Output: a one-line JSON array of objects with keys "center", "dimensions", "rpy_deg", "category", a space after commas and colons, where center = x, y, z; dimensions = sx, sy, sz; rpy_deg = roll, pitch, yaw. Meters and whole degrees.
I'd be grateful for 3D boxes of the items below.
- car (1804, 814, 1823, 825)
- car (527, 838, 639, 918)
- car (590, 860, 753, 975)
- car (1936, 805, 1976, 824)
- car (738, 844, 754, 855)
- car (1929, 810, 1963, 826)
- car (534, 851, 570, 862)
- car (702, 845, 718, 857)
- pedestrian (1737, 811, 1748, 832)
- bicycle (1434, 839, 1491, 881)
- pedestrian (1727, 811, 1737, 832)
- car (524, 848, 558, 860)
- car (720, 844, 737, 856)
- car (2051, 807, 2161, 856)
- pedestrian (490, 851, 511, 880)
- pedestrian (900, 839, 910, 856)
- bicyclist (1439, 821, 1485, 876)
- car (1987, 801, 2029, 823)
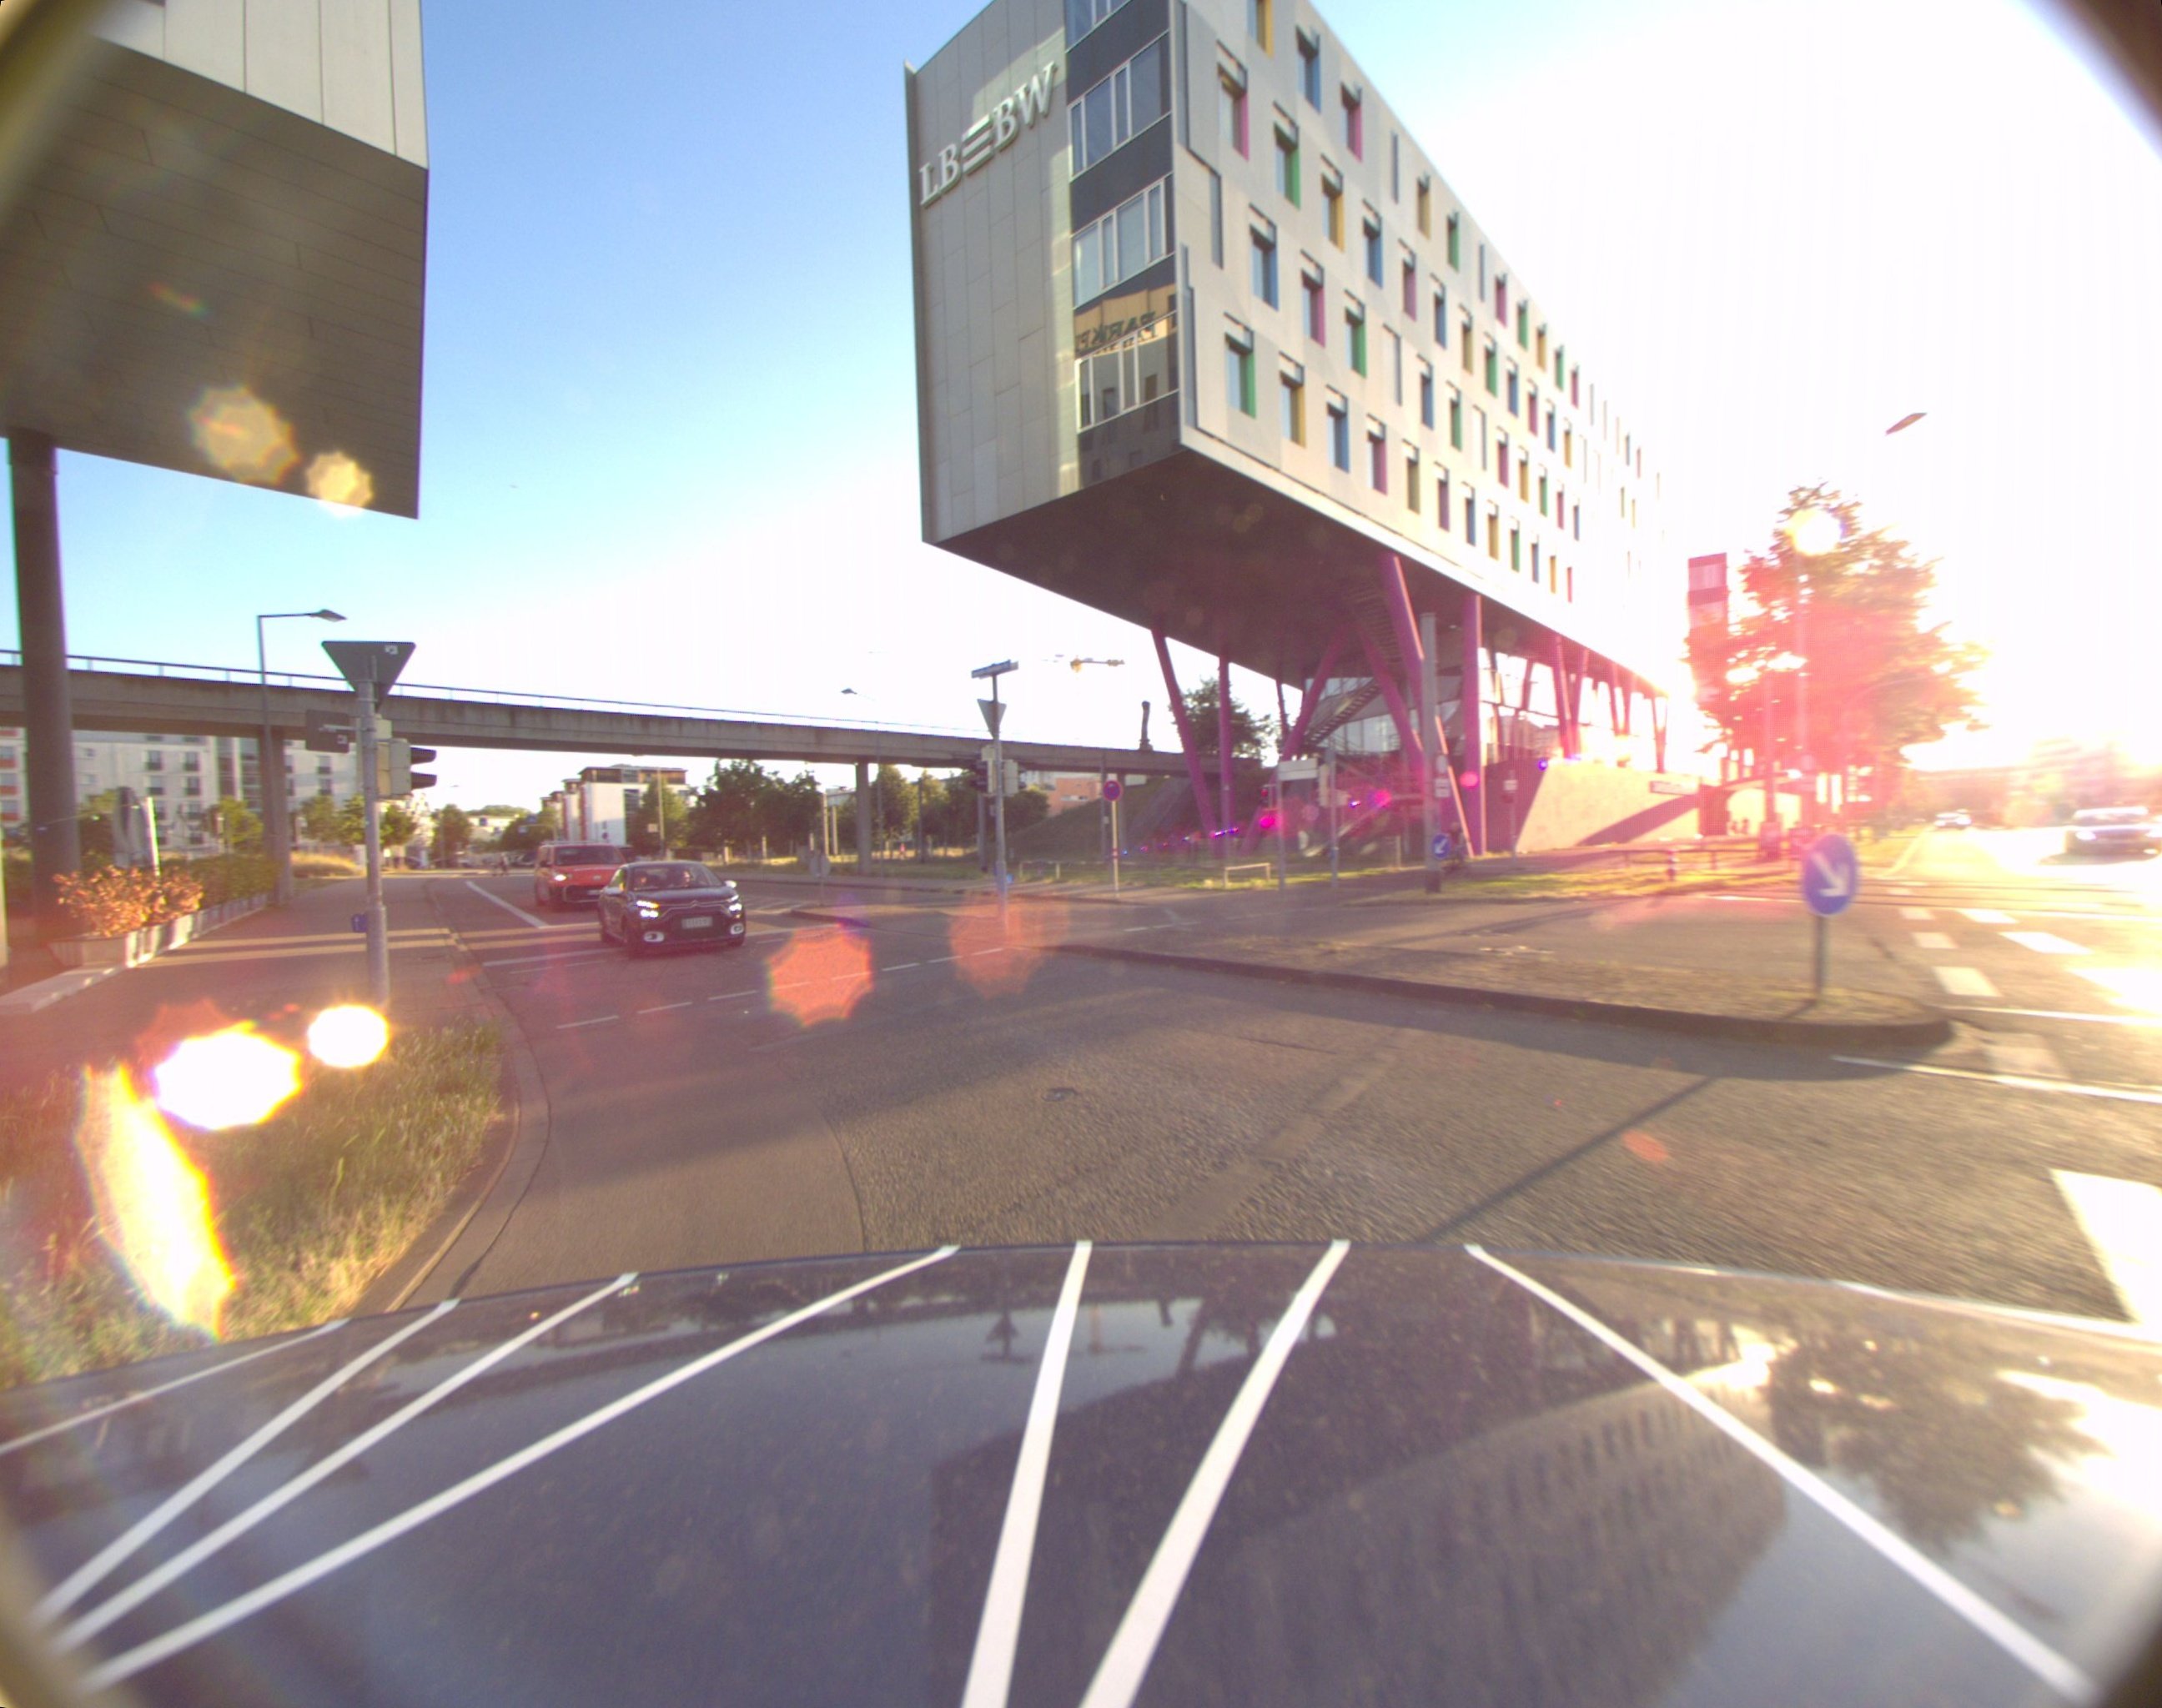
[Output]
[{"center": [110.955, -5.191, 115.118], "dimensions": [4.007, 1.490, 1.714], "rpy_deg": [-3, 2, -41], "category": "car"}, {"center": [-14.450, 0.611, 21.908], "dimensions": [1.935, 1.980, 4.808], "rpy_deg": [-4, 3, -41], "category": "car"}, {"center": [-7.110, 0.922, 12.985], "dimensions": [1.764, 1.543, 4.060], "rpy_deg": [-3, 2, -38], "category": "car"}, {"center": [71.538, -3.229, 62.185], "dimensions": [4.007, 1.412, 1.994], "rpy_deg": [-3, 2, -43], "category": "car"}, {"center": [-51.711, -0.688, 117.362], "dimensions": [1.875, 1.711, 3.835], "rpy_deg": [-3, 2, -29], "category": "car"}, {"center": [84.518, -3.544, 74.275], "dimensions": [4.007, 1.412, 1.994], "rpy_deg": [-3, 2, -43], "category": "car"}, {"center": [-80.477, 0.377, 115.618], "dimensions": [4.398, 1.551, 1.834], "rpy_deg": [-3, 3, -39], "category": "car"}, {"center": [-55.982, -0.467, 114.596], "dimensions": [1.875, 1.711, 3.835], "rpy_deg": [-3, 2, -28], "category": "car"}, {"center": [61.788, -3.040, 70.977], "dimensions": [0.813, 2.003, 0.617], "rpy_deg": [-4, 4, -41], "category": "pedestrian"}, {"center": [11.745, 0.159, 23.370], "dimensions": [2.114, 1.200, 0.741], "rpy_deg": [-3, 2, -39], "category": "bicycle"}, {"center": [61.359, -3.052, 71.587], "dimensions": [0.813, 2.003, 0.617], "rpy_deg": [-4, 4, -41], "category": "pedestrian"}, {"center": [-99.028, -0.015, 139.369], "dimensions": [4.756, 2.003, 1.994], "rpy_deg": [-4, 3, -43], "category": "car"}, {"center": [-53.802, -0.580, 115.935], "dimensions": [1.875, 1.711, 3.835], "rpy_deg": [-3, 2, -31], "category": "car"}, {"center": [33.012, -0.746, 24.492], "dimensions": [4.007, 1.412, 1.994], "rpy_deg": [-3, 2, -40], "category": "car"}, {"center": [-41.351, 0.788, 54.131], "dimensions": [0.958, 2.003, 0.629], "rpy_deg": [-3, 3, -23], "category": "pedestrian"}, {"center": [-16.884, -0.584, 72.881], "dimensions": [0.781, 1.602, 0.416], "rpy_deg": [-3, 2, -28], "category": "pedestrian"}, {"center": [11.725, -0.180, 23.368], "dimensions": [1.290, 1.624, 0.805], "rpy_deg": [-3, 2, -39], "category": "bicyclist"}, {"center": [79.092, -3.589, 64.866], "dimensions": [4.007, 1.697, 1.994], "rpy_deg": [-3, 2, -43], "category": "car"}]
